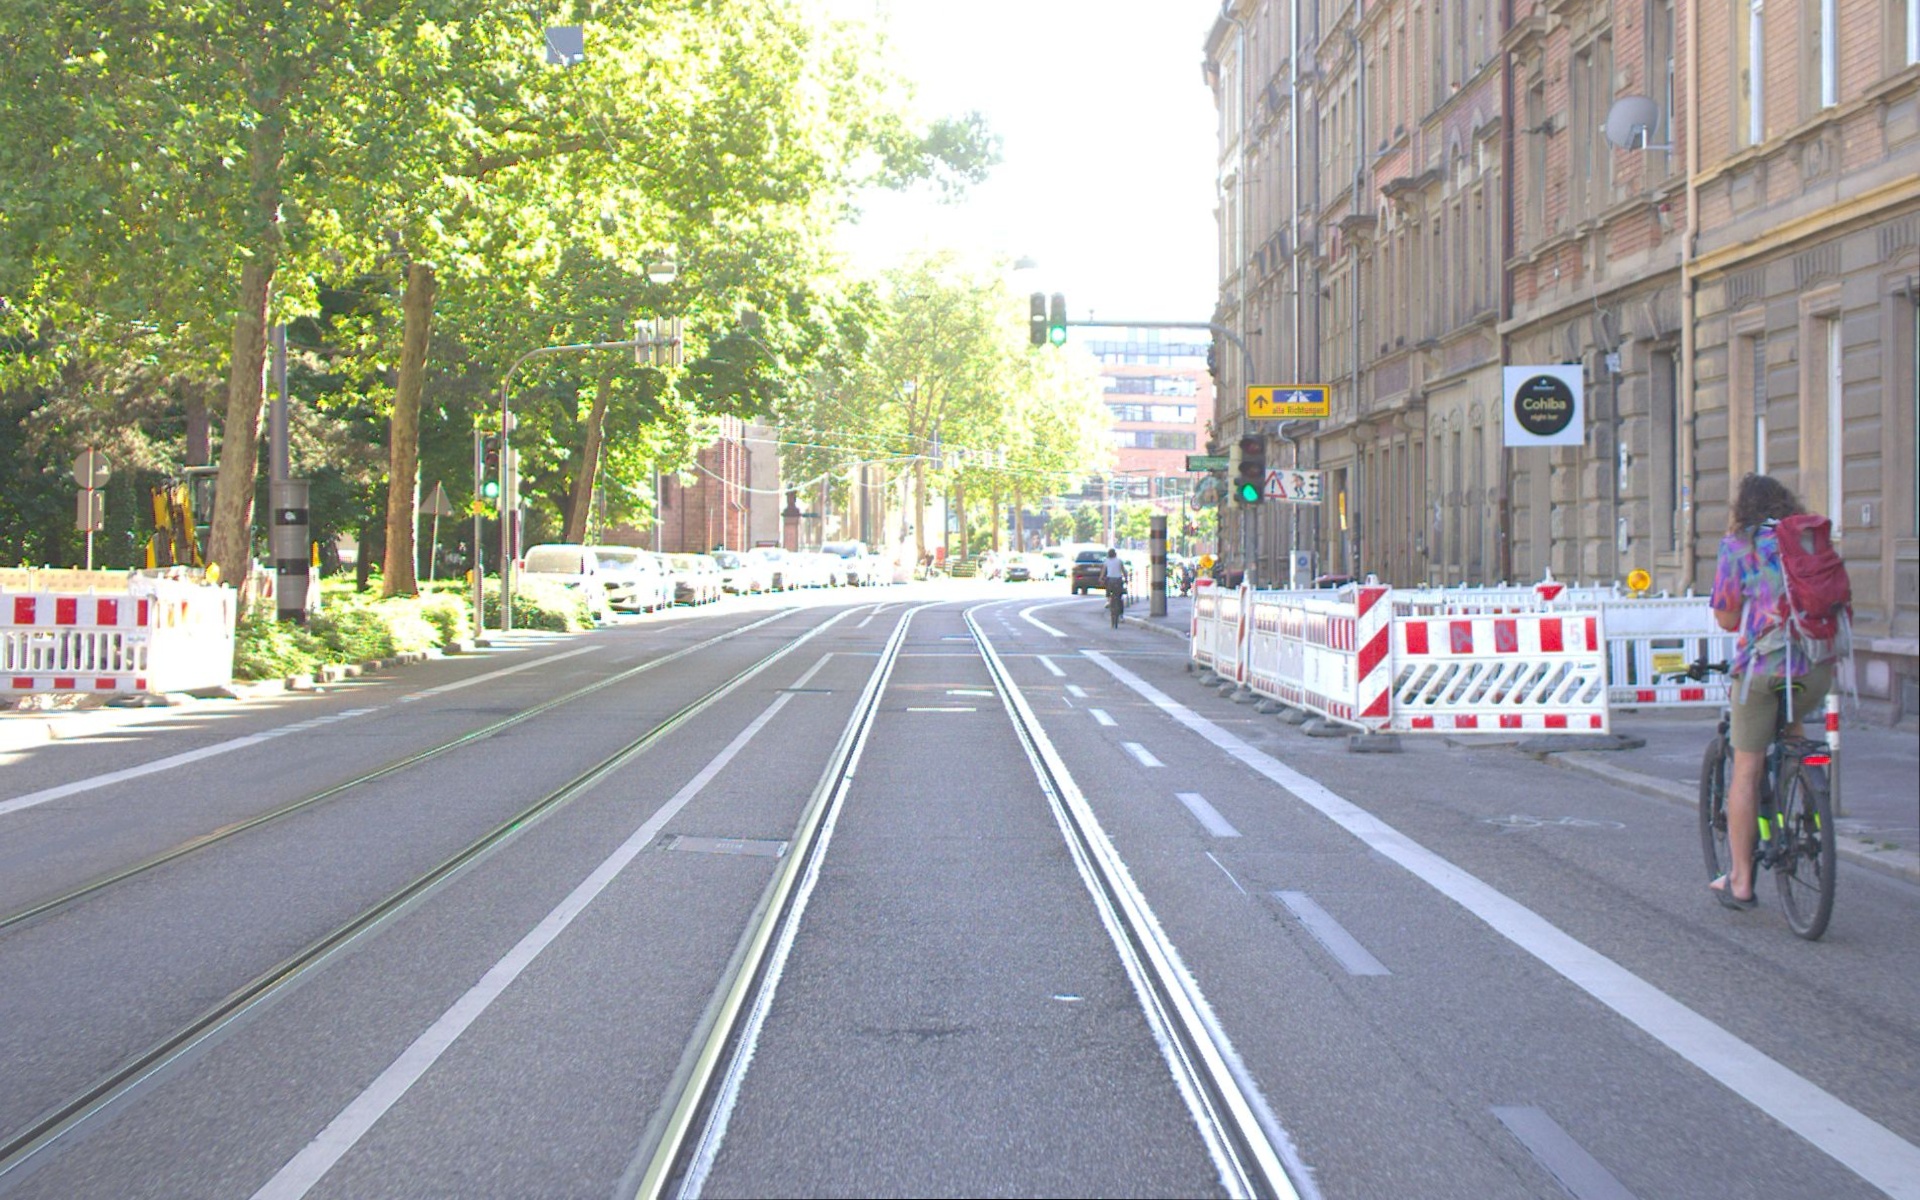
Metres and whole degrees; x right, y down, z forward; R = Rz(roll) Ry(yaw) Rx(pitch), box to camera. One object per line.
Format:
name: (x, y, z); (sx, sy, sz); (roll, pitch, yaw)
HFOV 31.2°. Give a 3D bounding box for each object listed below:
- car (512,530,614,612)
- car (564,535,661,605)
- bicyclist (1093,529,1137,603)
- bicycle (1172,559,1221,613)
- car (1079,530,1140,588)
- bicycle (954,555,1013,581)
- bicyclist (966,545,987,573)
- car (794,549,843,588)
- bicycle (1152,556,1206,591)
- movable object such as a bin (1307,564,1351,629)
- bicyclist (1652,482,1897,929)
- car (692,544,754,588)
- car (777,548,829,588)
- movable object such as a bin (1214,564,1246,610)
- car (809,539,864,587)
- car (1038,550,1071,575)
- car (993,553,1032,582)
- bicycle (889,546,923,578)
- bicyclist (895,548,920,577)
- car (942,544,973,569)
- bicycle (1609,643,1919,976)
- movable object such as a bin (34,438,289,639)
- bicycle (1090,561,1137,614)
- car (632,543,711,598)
car: (-8.449, -0.620, 73.447); (1.545, 1.653, 3.762); (2, 0, 2)
car: (-8.453, -0.723, 83.845); (1.748, 1.602, 4.043); (2, 0, 2)
bicyclist: (3.324, -0.731, 73.818); (0.838, 1.552, 0.965); (2, 0, -1)
bicycle: (6.860, -0.405, 99.615); (0.971, 1.510, 3.244); (2, 0, 12)
car: (5.430, -1.494, 125.367); (1.993, 2.007, 4.000); (2, 0, 0)
bicycle: (1.216, -1.638, 175.733); (2.889, 1.227, 0.883); (2, 0, 11)
bicyclist: (0.836, -2.084, 175.734); (0.899, 1.423, 1.052); (2, 0, 9)
car: (-6.080, -1.356, 148.120); (1.748, 1.581, 4.043); (2, 0, 2)
bicycle: (7.344, -0.869, 115.232); (0.641, 1.114, 2.292); (2, 0, 37)
movable object such as a bin: (6.486, -0.066, 60.380); (0.620, 1.106, 0.781); (2, 0, -3)
bicyclist: (3.224, 0.402, 13.687); (0.667, 1.691, 1.043); (2, 0, -1)
car: (-8.415, -1.214, 122.356); (1.748, 1.490, 4.043); (2, 0, 2)
car: (-6.517, -1.335, 142.929); (1.748, 1.581, 4.043); (2, 0, 2)
movable object such as a bin: (6.170, -0.308, 78.563); (0.673, 1.032, 0.813); (0, 2, 0)
car: (-5.484, -1.629, 153.144); (2.059, 2.045, 4.043); (2, 0, 2)
car: (5.796, -2.304, 210.794); (1.748, 1.417, 4.043); (2, 0, 4)
car: (2.773, -1.704, 181.098); (1.748, 1.417, 4.043); (2, 0, 4)
bicycle: (-2.716, -1.918, 173.266); (1.234, 1.567, 2.896); (2, 0, 7)
bicyclist: (-2.648, -1.909, 173.221); (1.078, 1.423, 1.146); (2, 0, 8)
car: (-0.159, -2.967, 236.280); (1.748, 1.619, 4.043); (2, 0, 4)
bicycle: (3.204, 0.767, 13.647); (0.681, 1.110, 2.707); (2, 1, -1)
movable object such as a bin: (-11.406, -0.877, 49.582); (2.495, 2.636, 5.990); (2, 1, -3)
bicycle: (3.299, -0.268, 73.881); (0.856, 1.084, 2.487); (2, 0, 0)
car: (-8.316, -0.838, 99.409); (1.748, 1.504, 4.043); (2, 0, 2)
